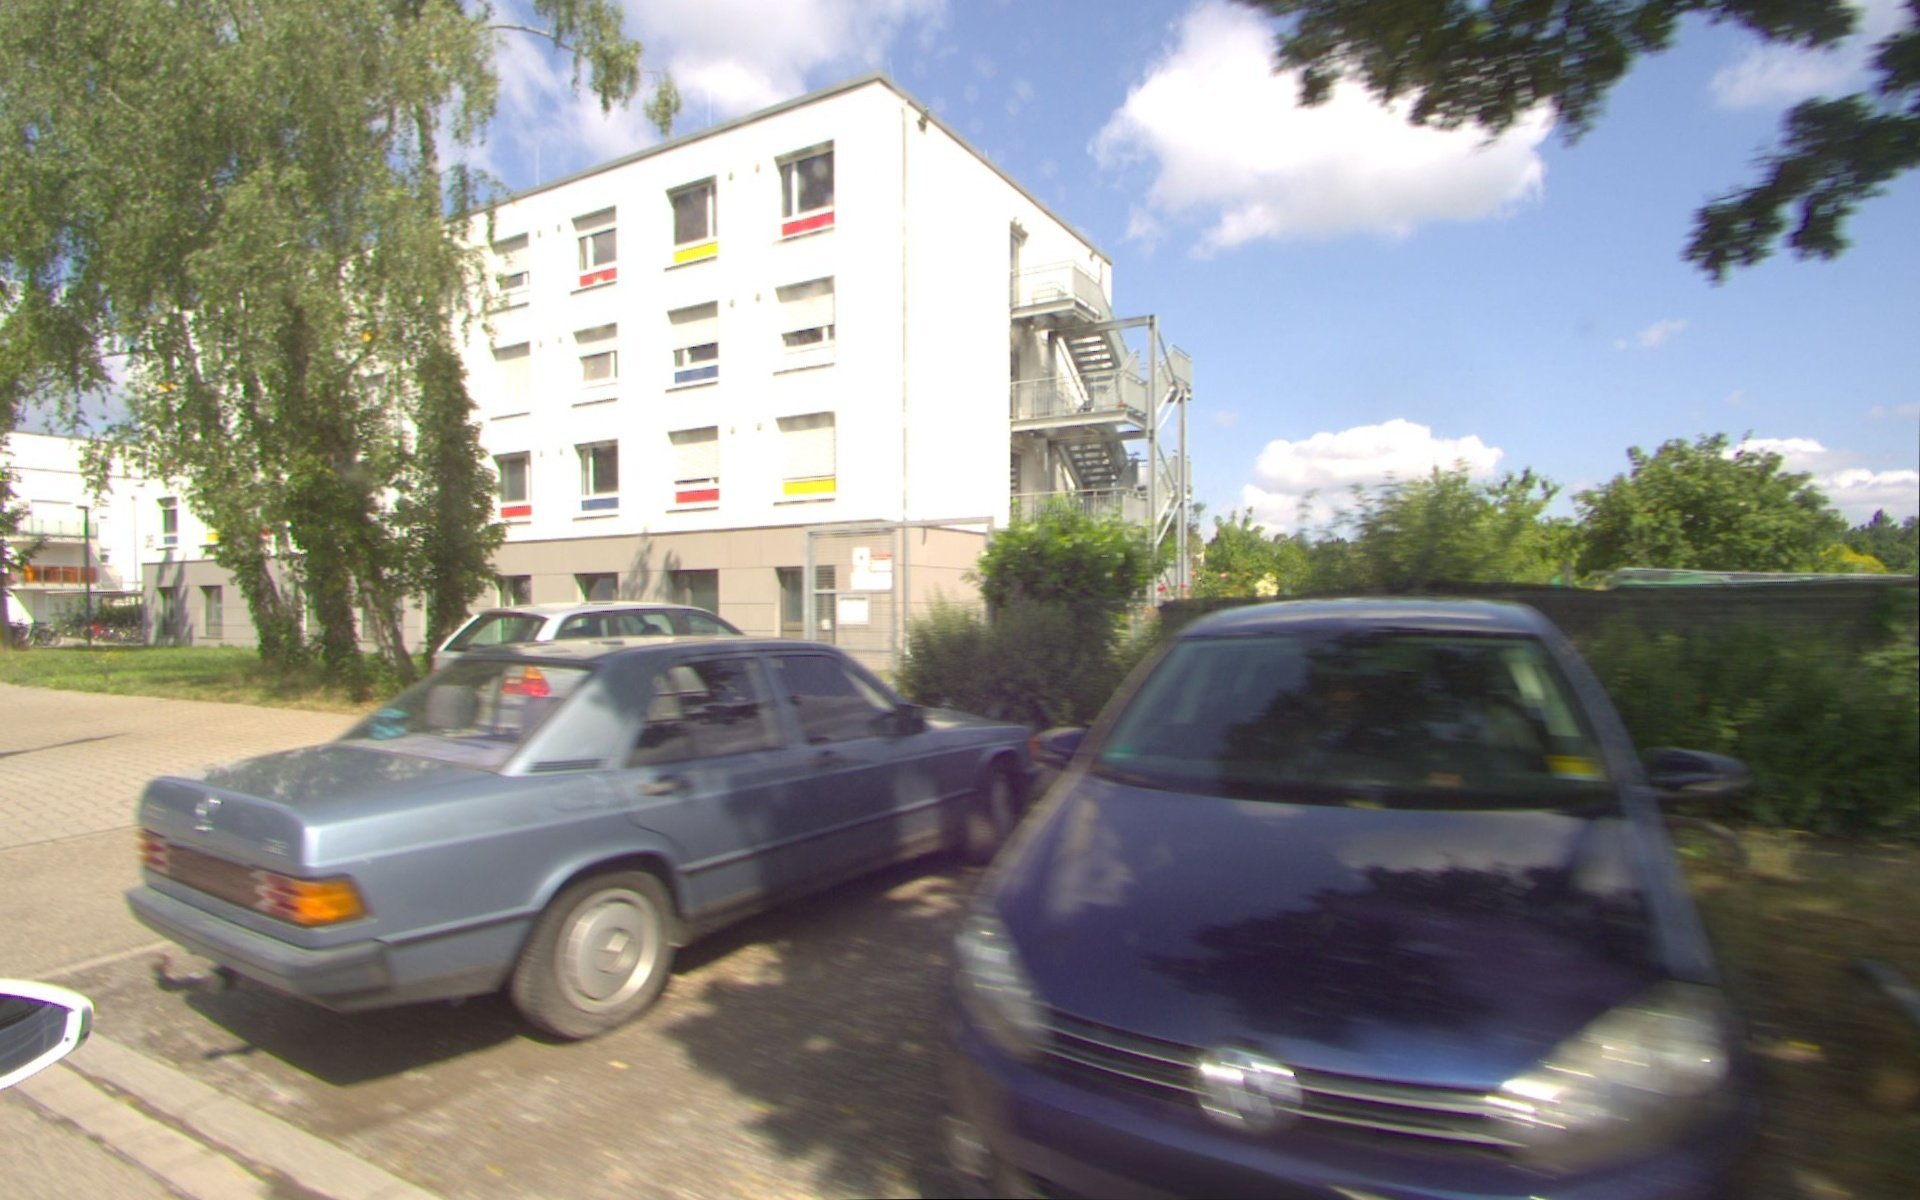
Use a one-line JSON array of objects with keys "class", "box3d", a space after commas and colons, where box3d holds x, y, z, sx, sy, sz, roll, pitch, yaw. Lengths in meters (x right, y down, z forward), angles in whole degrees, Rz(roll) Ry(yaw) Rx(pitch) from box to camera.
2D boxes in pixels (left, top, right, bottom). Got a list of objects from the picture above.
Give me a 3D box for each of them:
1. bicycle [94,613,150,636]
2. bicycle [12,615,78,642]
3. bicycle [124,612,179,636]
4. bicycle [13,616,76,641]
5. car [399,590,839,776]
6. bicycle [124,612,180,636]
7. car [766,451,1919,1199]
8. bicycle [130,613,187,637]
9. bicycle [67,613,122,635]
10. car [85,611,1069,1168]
[{"class": "bicycle", "box3d": [-42.514, 1.225, 50.810, 0.678, 1.094, 2.041, 0, 1, 33]}, {"class": "bicycle", "box3d": [-41.393, 1.285, 45.319, 0.616, 1.134, 2.082, 0, 1, 35]}, {"class": "bicycle", "box3d": [-40.359, 1.197, 50.010, 0.678, 1.094, 2.041, 0, 1, 33]}, {"class": "bicycle", "box3d": [-42.567, 1.315, 46.580, 0.678, 1.094, 2.041, 0, 1, 33]}, {"class": "car", "box3d": [-3.235, 0.667, 10.412, 1.732, 1.450, 4.233, 0, 1, 30]}, {"class": "bicycle", "box3d": [-39.839, 1.188, 49.395, 0.678, 1.094, 2.041, 0, 1, 33]}, {"class": "car", "box3d": [1.339, 0.671, 3.376, 1.839, 1.579, 3.930, 0, -2, 29]}, {"class": "bicycle", "box3d": [-39.155, 1.214, 48.937, 0.678, 1.094, 2.041, 0, 1, 33]}, {"class": "bicycle", "box3d": [-44.690, 1.230, 51.721, 0.678, 1.094, 2.041, 0, 1, 33]}, {"class": "car", "box3d": [-1.237, 0.797, 4.934, 1.695, 1.410, 4.346, 0, 0, 34]}]
